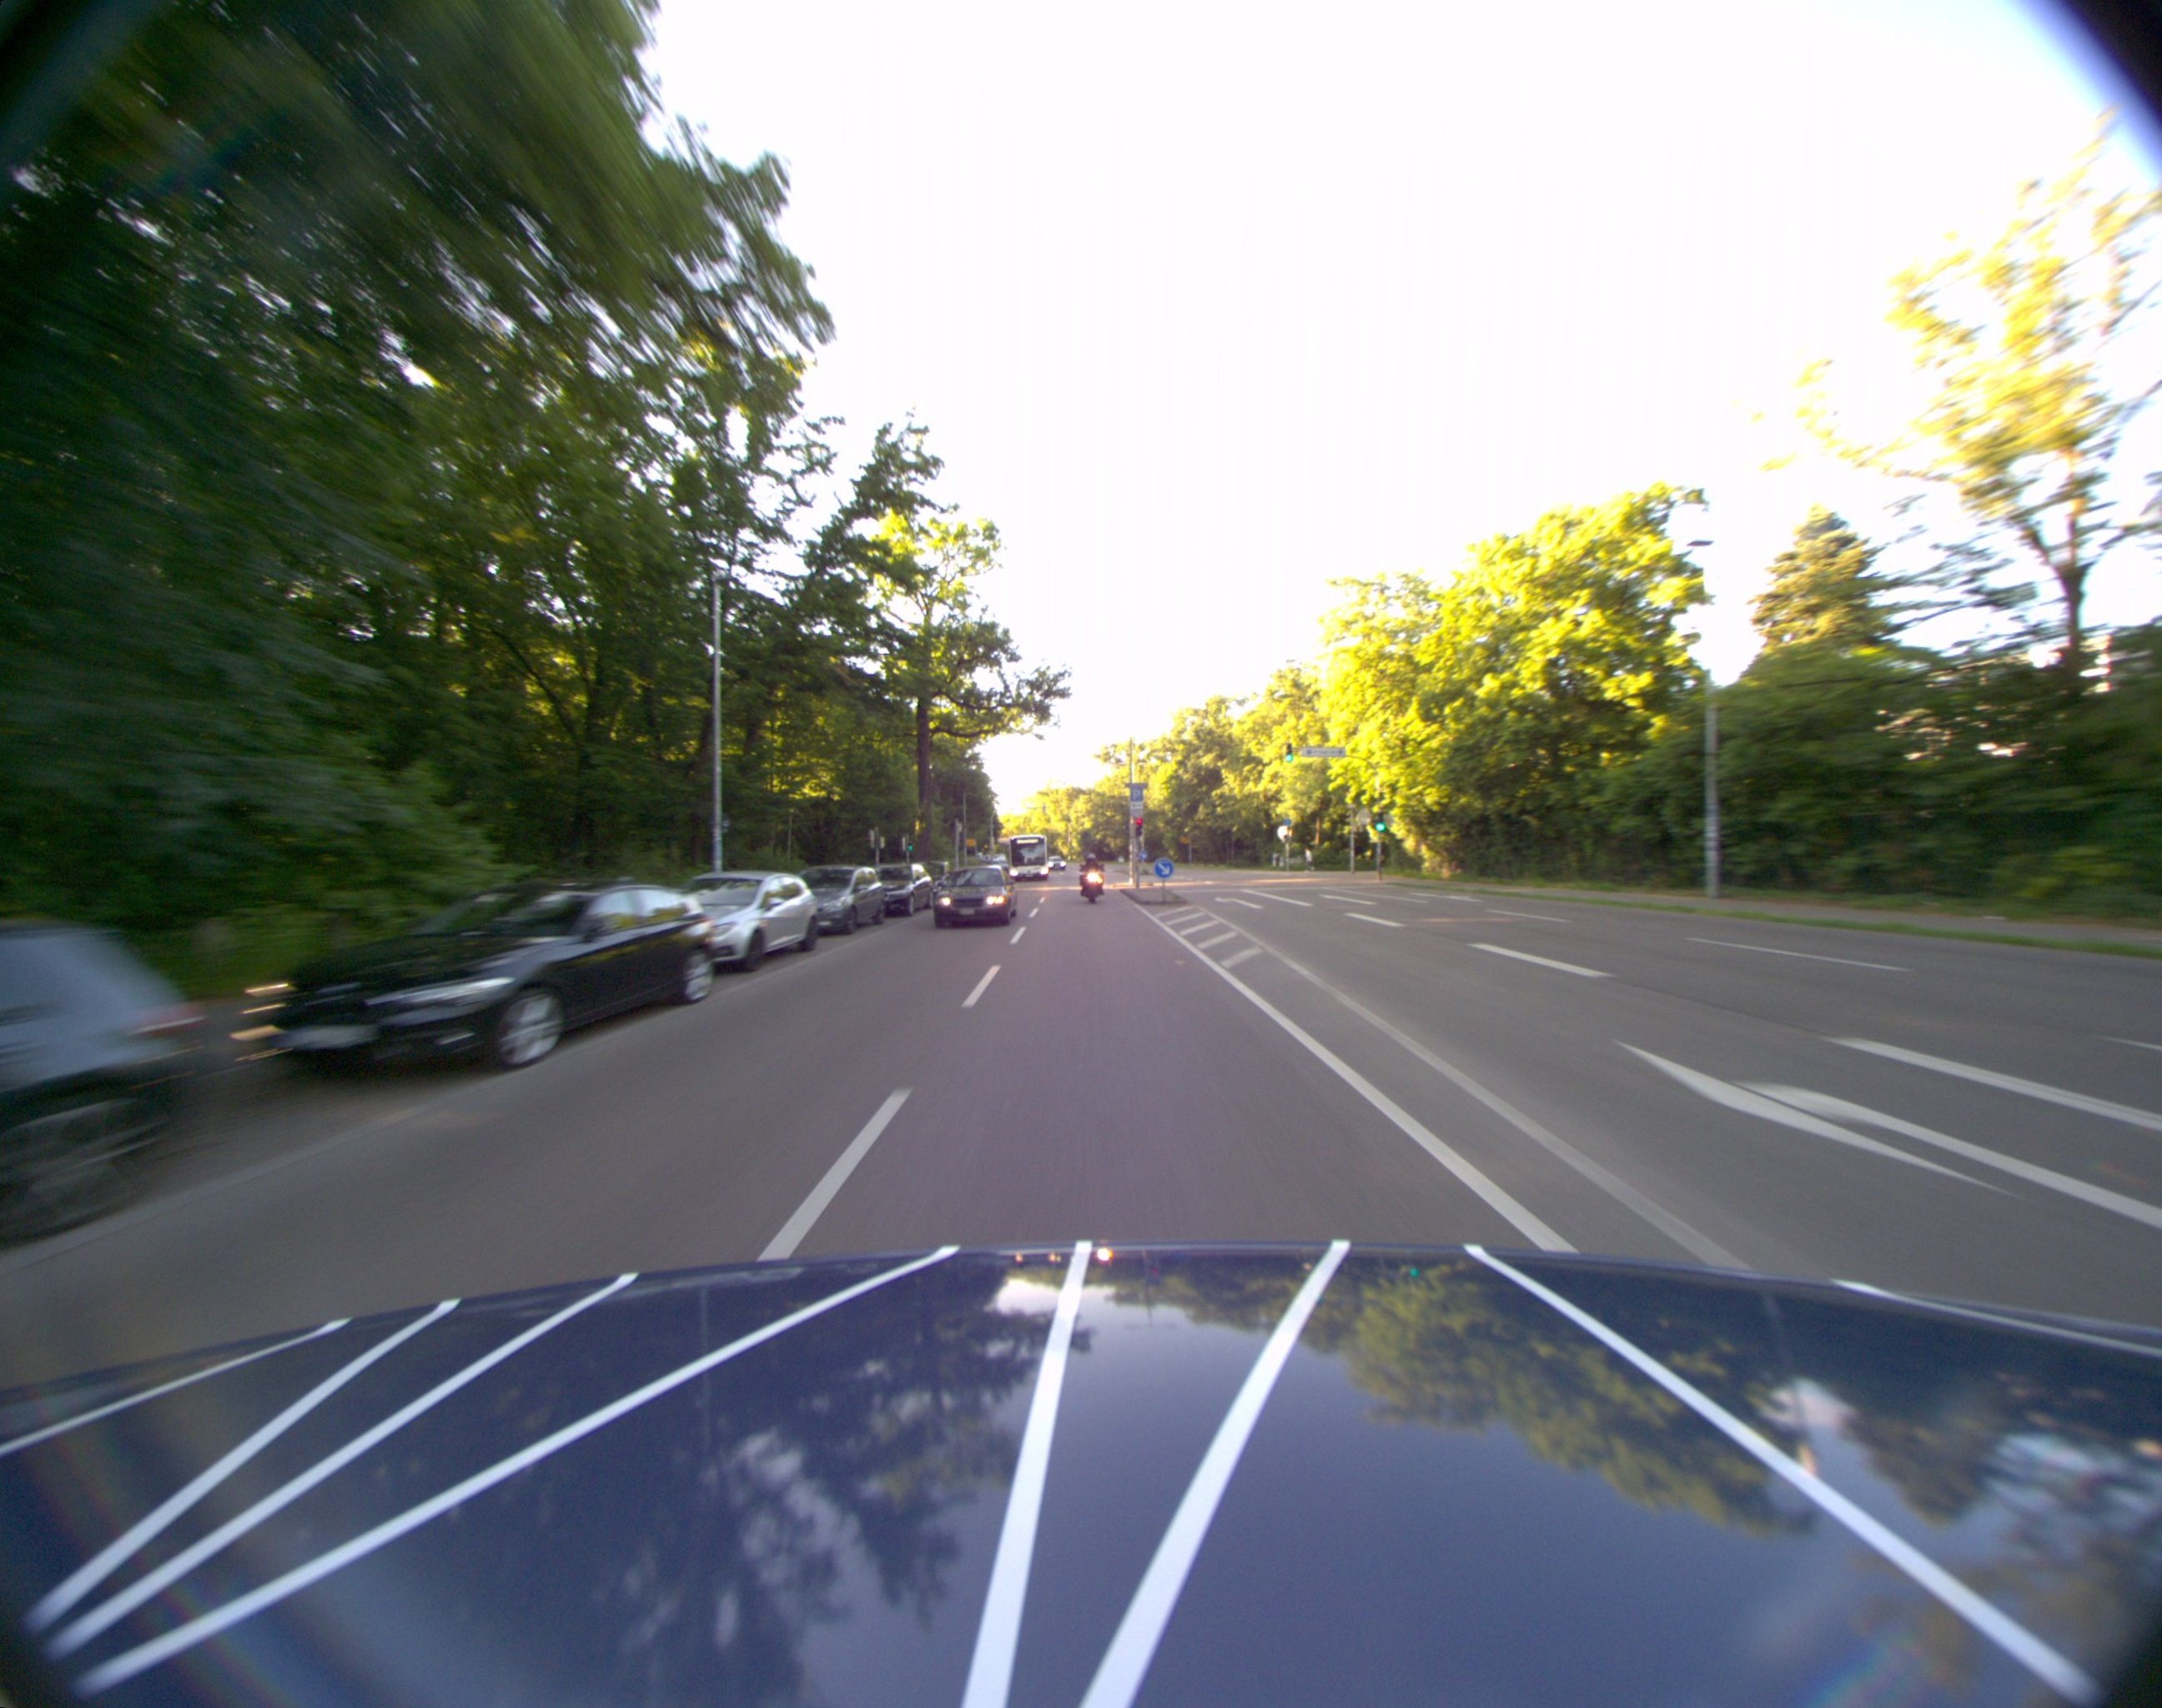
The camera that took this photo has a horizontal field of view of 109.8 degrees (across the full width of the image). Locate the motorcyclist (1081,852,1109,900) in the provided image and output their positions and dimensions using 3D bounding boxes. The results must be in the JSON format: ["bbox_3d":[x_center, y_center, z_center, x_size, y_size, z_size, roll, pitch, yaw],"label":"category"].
[{"bbox_3d":[0.453,0.684,24.362,0.830,1.484,1.024,-2,1,2],"label":"motorcyclist"}]

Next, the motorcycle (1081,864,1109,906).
[{"bbox_3d":[0.467,0.955,24.370,0.830,1.212,2.604,-2,0,2],"label":"motorcycle"}]

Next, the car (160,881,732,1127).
[{"bbox_3d":[-5.224,1.076,7.275,1.722,1.403,4.486,0,1,-1],"label":"car"}]

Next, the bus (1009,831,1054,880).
[{"bbox_3d":[-3.610,0.077,55.498,2.813,3.030,12.880,-2,0,-4],"label":"bus"}]

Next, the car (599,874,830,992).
[{"bbox_3d":[-5.542,1.101,12.154,1.722,1.403,4.123,0,1,-1],"label":"car"}]

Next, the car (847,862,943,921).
[{"bbox_3d":[-5.494,1.046,23.106,1.722,1.460,4.986,0,1,-1],"label":"car"}]

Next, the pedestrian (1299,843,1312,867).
[{"bbox_3d":[16.305,0.048,55.076,0.648,1.701,0.821,0,1,36],"label":"pedestrian"}]

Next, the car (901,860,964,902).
[{"bbox_3d":[-5.692,0.986,29.531,1.722,1.460,3.756,0,1,0],"label":"car"}]

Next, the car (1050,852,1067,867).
[{"bbox_3d":[-2.458,0.573,81.719,1.679,1.552,3.992,-2,1,-4],"label":"car"}]

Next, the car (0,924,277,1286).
[{"bbox_3d":[-5.399,1.121,2.001,1.722,1.403,4.487,0,1,1],"label":"car"}]

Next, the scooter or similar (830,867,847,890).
[{"bbox_3d":[-12.414,1.263,38.942,0.379,1.137,1.223,-1,1,4],"label":"scooter or similar"}]

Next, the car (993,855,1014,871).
[{"bbox_3d":[-7.729,0.882,76.132,1.767,1.460,5.114,0,1,-3],"label":"car"}]

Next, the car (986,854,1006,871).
[{"bbox_3d":[-7.874,0.771,70.409,1.723,1.460,3.871,0,1,-6],"label":"car"}]

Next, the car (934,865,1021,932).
[{"bbox_3d":[-2.466,1.027,18.936,1.679,1.351,3.993,-2,1,-2],"label":"car"}]

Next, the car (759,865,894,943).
[{"bbox_3d":[-5.682,1.054,17.532,1.722,1.460,4.201,0,1,-1],"label":"car"}]
